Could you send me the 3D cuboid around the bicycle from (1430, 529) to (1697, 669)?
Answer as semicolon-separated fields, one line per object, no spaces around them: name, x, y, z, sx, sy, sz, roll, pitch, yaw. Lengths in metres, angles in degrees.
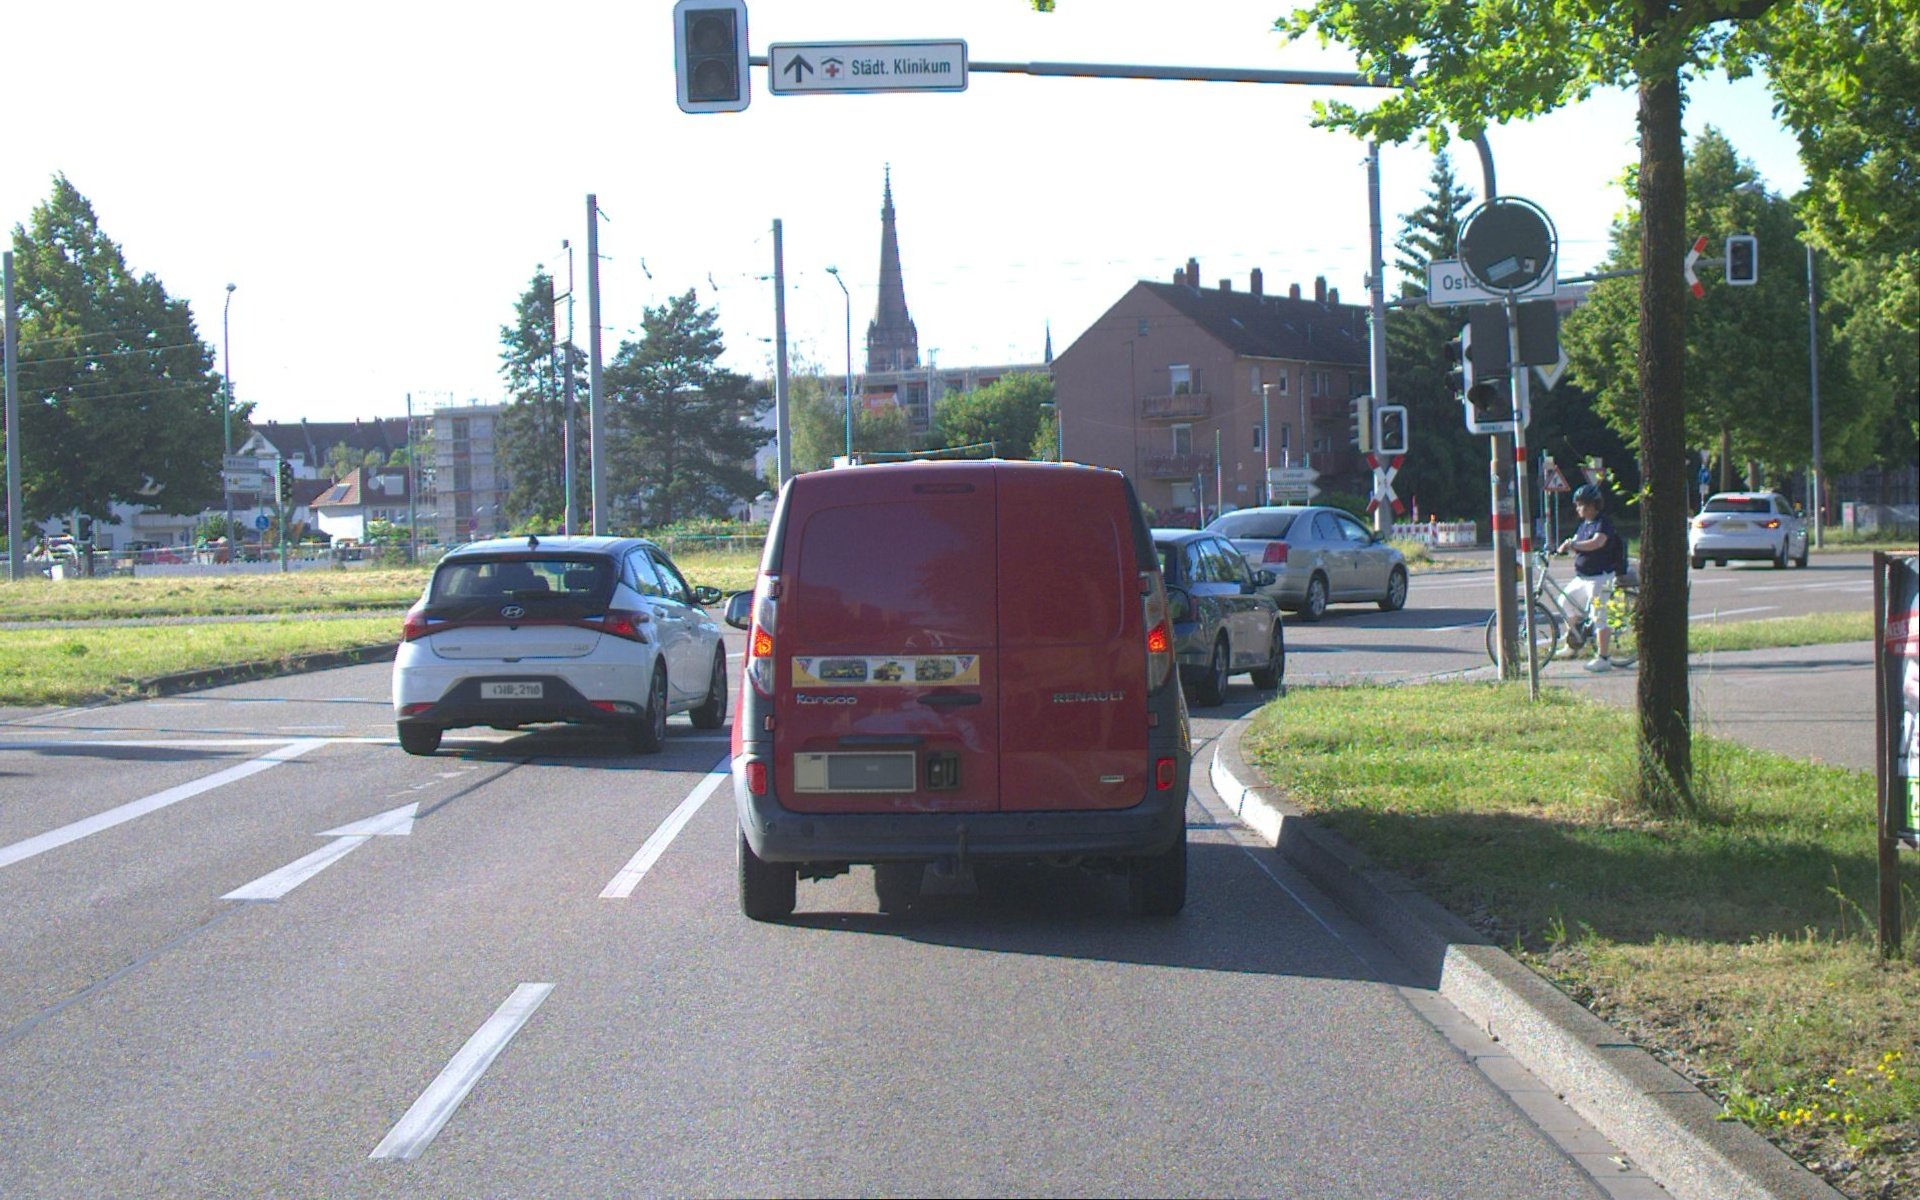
bicycle;5.473;-0.013;31.175;2.209;1.151;0.876;-3;0;-23

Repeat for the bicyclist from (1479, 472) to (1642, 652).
bicyclist;5.439;-0.340;31.159;1.084;1.556;0.876;-3;0;-23

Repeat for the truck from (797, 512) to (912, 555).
truck;-5.184;-3.244;168.233;2.165;2.007;6.434;0;0;-39

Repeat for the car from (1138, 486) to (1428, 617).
car;4.303;-0.665;45.217;1.997;1.569;4.400;-1;2;32

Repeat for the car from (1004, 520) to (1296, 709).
car;1.685;0.075;29.129;1.715;1.431;4.149;-1;1;14

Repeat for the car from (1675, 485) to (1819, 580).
car;14.728;-1.289;64.188;1.995;1.633;4.404;-1;2;21

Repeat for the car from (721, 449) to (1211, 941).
car;0.043;0.314;14.560;1.802;1.807;3.810;0;1;1

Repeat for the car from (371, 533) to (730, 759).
car;-2.778;0.259;24.131;1.803;1.456;3.809;0;1;4
